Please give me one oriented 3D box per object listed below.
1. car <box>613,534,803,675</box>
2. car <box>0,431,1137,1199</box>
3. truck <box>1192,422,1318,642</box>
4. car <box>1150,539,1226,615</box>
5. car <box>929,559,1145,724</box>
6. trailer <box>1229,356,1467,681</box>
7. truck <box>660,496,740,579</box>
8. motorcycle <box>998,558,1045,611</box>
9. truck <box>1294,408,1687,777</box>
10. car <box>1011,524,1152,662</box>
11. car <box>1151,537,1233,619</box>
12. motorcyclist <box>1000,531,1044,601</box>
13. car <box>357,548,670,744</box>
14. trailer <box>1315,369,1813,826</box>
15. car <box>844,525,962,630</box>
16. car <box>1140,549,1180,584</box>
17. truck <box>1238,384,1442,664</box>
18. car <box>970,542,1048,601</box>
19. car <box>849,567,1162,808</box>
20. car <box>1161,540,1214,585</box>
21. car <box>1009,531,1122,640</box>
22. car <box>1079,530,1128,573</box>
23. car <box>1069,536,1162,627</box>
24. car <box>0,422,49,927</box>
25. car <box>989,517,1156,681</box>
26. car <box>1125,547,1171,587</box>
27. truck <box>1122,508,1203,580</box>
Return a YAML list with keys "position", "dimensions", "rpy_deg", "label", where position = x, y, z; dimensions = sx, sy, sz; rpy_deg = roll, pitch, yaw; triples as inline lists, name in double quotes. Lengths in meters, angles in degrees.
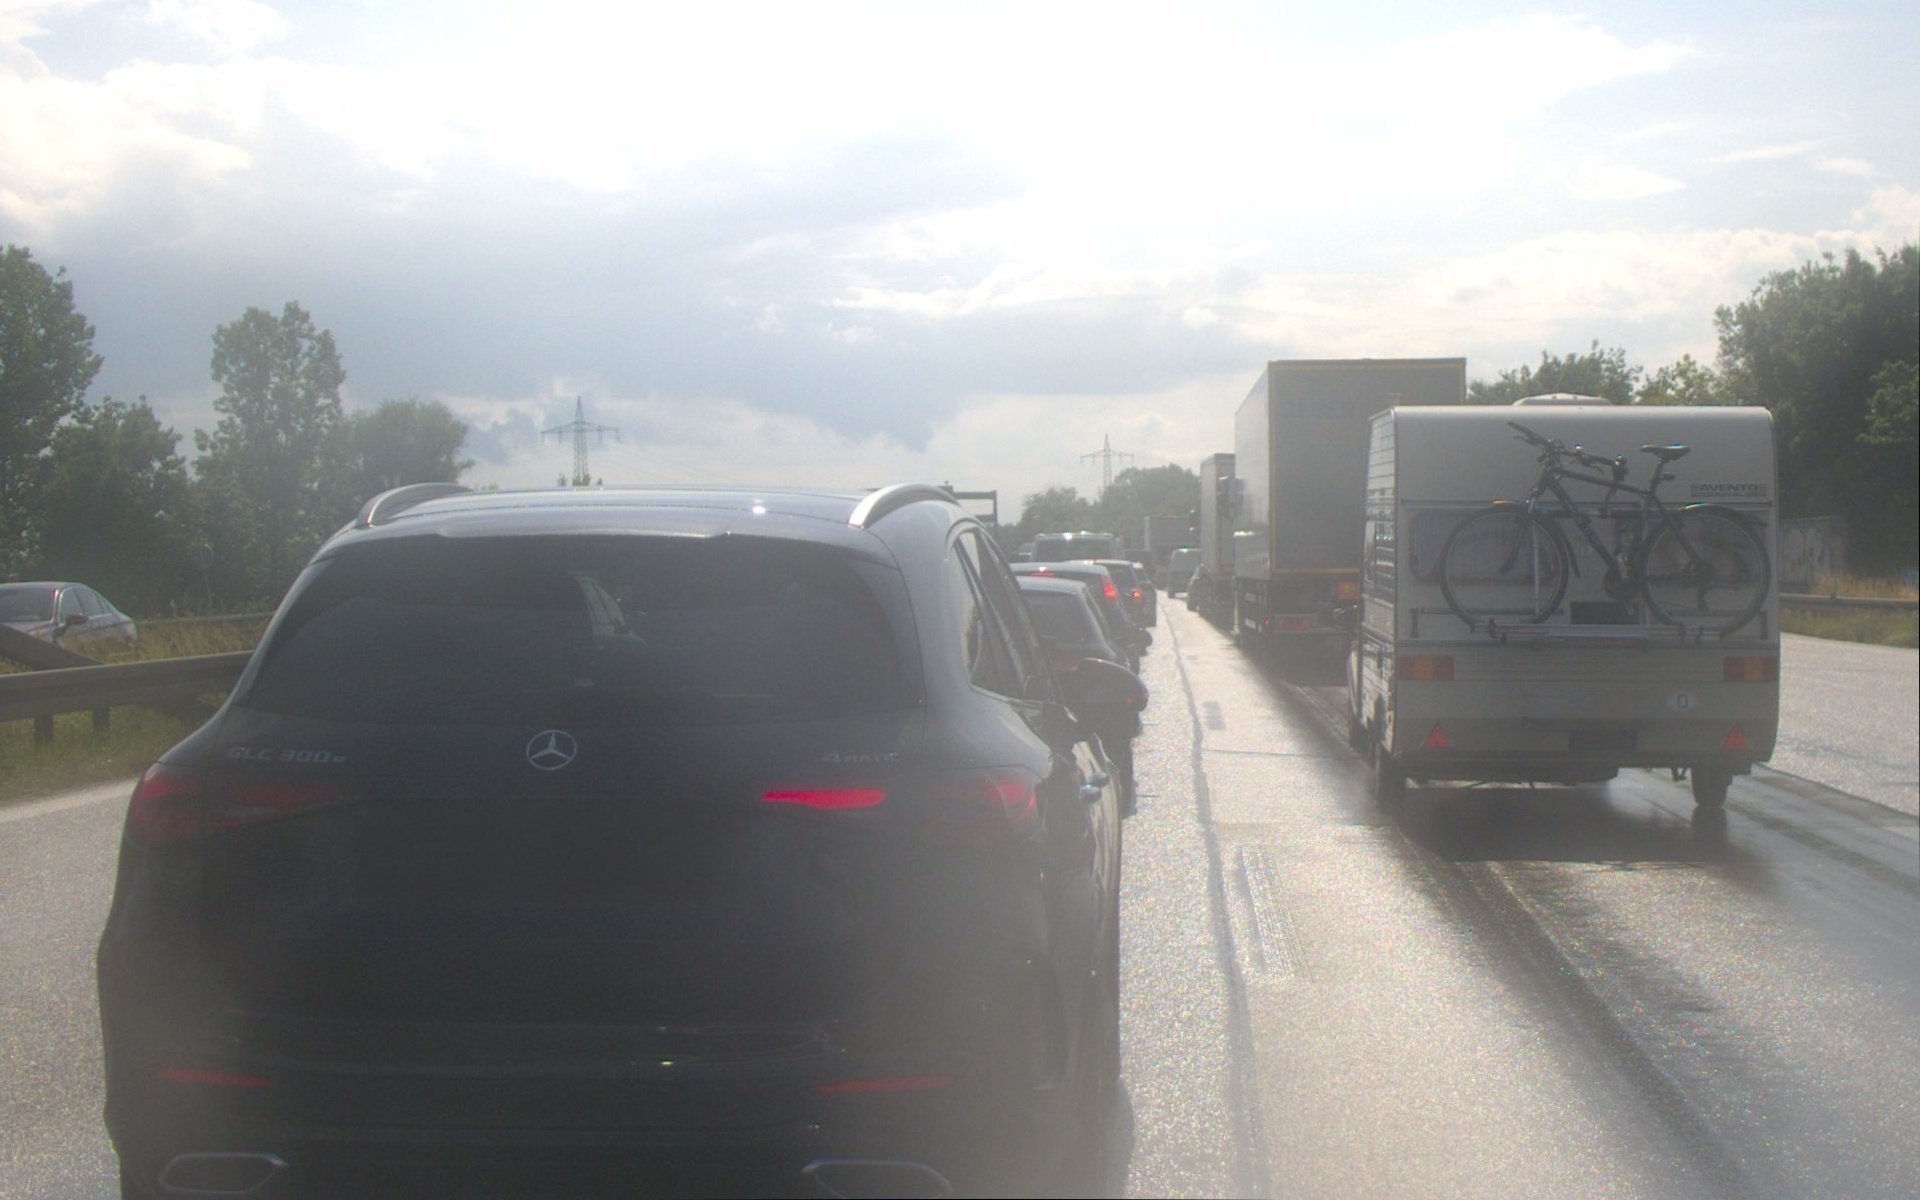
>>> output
- position: [-3.180, 0.035, 44.101]
  dimensions: [1.993, 1.714, 4.000]
  rpy_deg: [1, 1, 2]
  label: "car"
- position: [-0.600, 0.528, 7.967]
  dimensions: [1.994, 1.656, 4.405]
  rpy_deg: [0, 0, 3]
  label: "car"
- position: [6.753, -1.532, 79.550]
  dimensions: [2.502, 4.813, 7.543]
  rpy_deg: [1, 0, 2]
  label: "truck"
- position: [6.549, -0.670, 98.582]
  dimensions: [1.994, 2.007, 3.999]
  rpy_deg: [4, 1, 4]
  label: "car"
- position: [0.766, 0.339, 31.570]
  dimensions: [1.806, 1.402, 4.000]
  rpy_deg: [1, 1, 4]
  label: "car"
- position: [5.379, -1.100, 48.339]
  dimensions: [3.007, 4.152, 8.534]
  rpy_deg: [0, 1, 6]
  label: "trailer"
- position: [-12.434, -2.934, 165.128]
  dimensions: [2.862, 3.808, 7.877]
  rpy_deg: [0, 0, 3]
  label: "truck"
- position: [1.527, -0.389, 84.655]
  dimensions: [1.074, 1.267, 2.690]
  rpy_deg: [0, 1, 3]
  label: "motorcycle"
- position: [3.855, -0.081, 26.072]
  dimensions: [2.374, 2.468, 5.755]
  rpy_deg: [1, 1, 3]
  label: "truck"
- position: [1.987, -0.138, 55.108]
  dimensions: [1.994, 2.007, 3.999]
  rpy_deg: [4, 1, 4]
  label: "car"
- position: [5.981, -0.578, 88.499]
  dimensions: [1.994, 2.007, 3.999]
  rpy_deg: [2, 1, 4]
  label: "car"
- position: [1.523, -0.825, 84.642]
  dimensions: [1.064, 1.712, 0.785]
  rpy_deg: [0, 0, 3]
  label: "motorcyclist"
- position: [-3.631, 0.325, 28.667]
  dimensions: [1.757, 1.511, 4.208]
  rpy_deg: [0, 1, 4]
  label: "car"
- position: [3.634, -0.048, 22.063]
  dimensions: [2.374, 2.475, 6.522]
  rpy_deg: [1, 1, 3]
  label: "trailer"
- position: [-1.156, -0.477, 71.706]
  dimensions: [1.994, 2.007, 3.999]
  rpy_deg: [4, 1, 4]
  label: "car"
- position: [10.278, -1.726, 176.948]
  dimensions: [1.876, 1.754, 4.000]
  rpy_deg: [1, 1, 1]
  label: "car"
- position: [5.899, -1.167, 53.771]
  dimensions: [2.996, 4.152, 5.239]
  rpy_deg: [0, 1, 6]
  label: "truck"
- position: [1.483, -0.853, 102.373]
  dimensions: [1.994, 1.610, 3.999]
  rpy_deg: [4, 1, 4]
  label: "car"
- position: [0.378, 0.489, 22.000]
  dimensions: [1.757, 1.382, 3.944]
  rpy_deg: [0, 1, 4]
  label: "car"
- position: [9.021, -1.494, 136.640]
  dimensions: [1.876, 1.754, 4.000]
  rpy_deg: [1, 1, 1]
  label: "car"
- position: [2.047, -0.291, 65.648]
  dimensions: [1.994, 2.007, 3.999]
  rpy_deg: [0, 1, 4]
  label: "car"
- position: [5.905, -1.994, 141.976]
  dimensions: [1.876, 1.754, 4.000]
  rpy_deg: [1, 1, 1]
  label: "car"
- position: [3.594, -0.435, 78.907]
  dimensions: [1.994, 2.007, 3.999]
  rpy_deg: [1, 1, 4]
  label: "car"
- position: [-4.960, 0.328, 11.660]
  dimensions: [1.994, 2.007, 5.269]
  rpy_deg: [0, 1, 4]
  label: "car"
- position: [1.502, -0.038, 44.492]
  dimensions: [1.994, 2.007, 3.999]
  rpy_deg: [1, 1, 4]
  label: "car"
- position: [8.529, -1.501, 156.173]
  dimensions: [1.876, 1.754, 4.000]
  rpy_deg: [1, 1, 1]
  label: "car"
- position: [11.595, -3.184, 198.069]
  dimensions: [3.843, 4.003, 11.222]
  rpy_deg: [1, 1, -1]
  label: "truck"
